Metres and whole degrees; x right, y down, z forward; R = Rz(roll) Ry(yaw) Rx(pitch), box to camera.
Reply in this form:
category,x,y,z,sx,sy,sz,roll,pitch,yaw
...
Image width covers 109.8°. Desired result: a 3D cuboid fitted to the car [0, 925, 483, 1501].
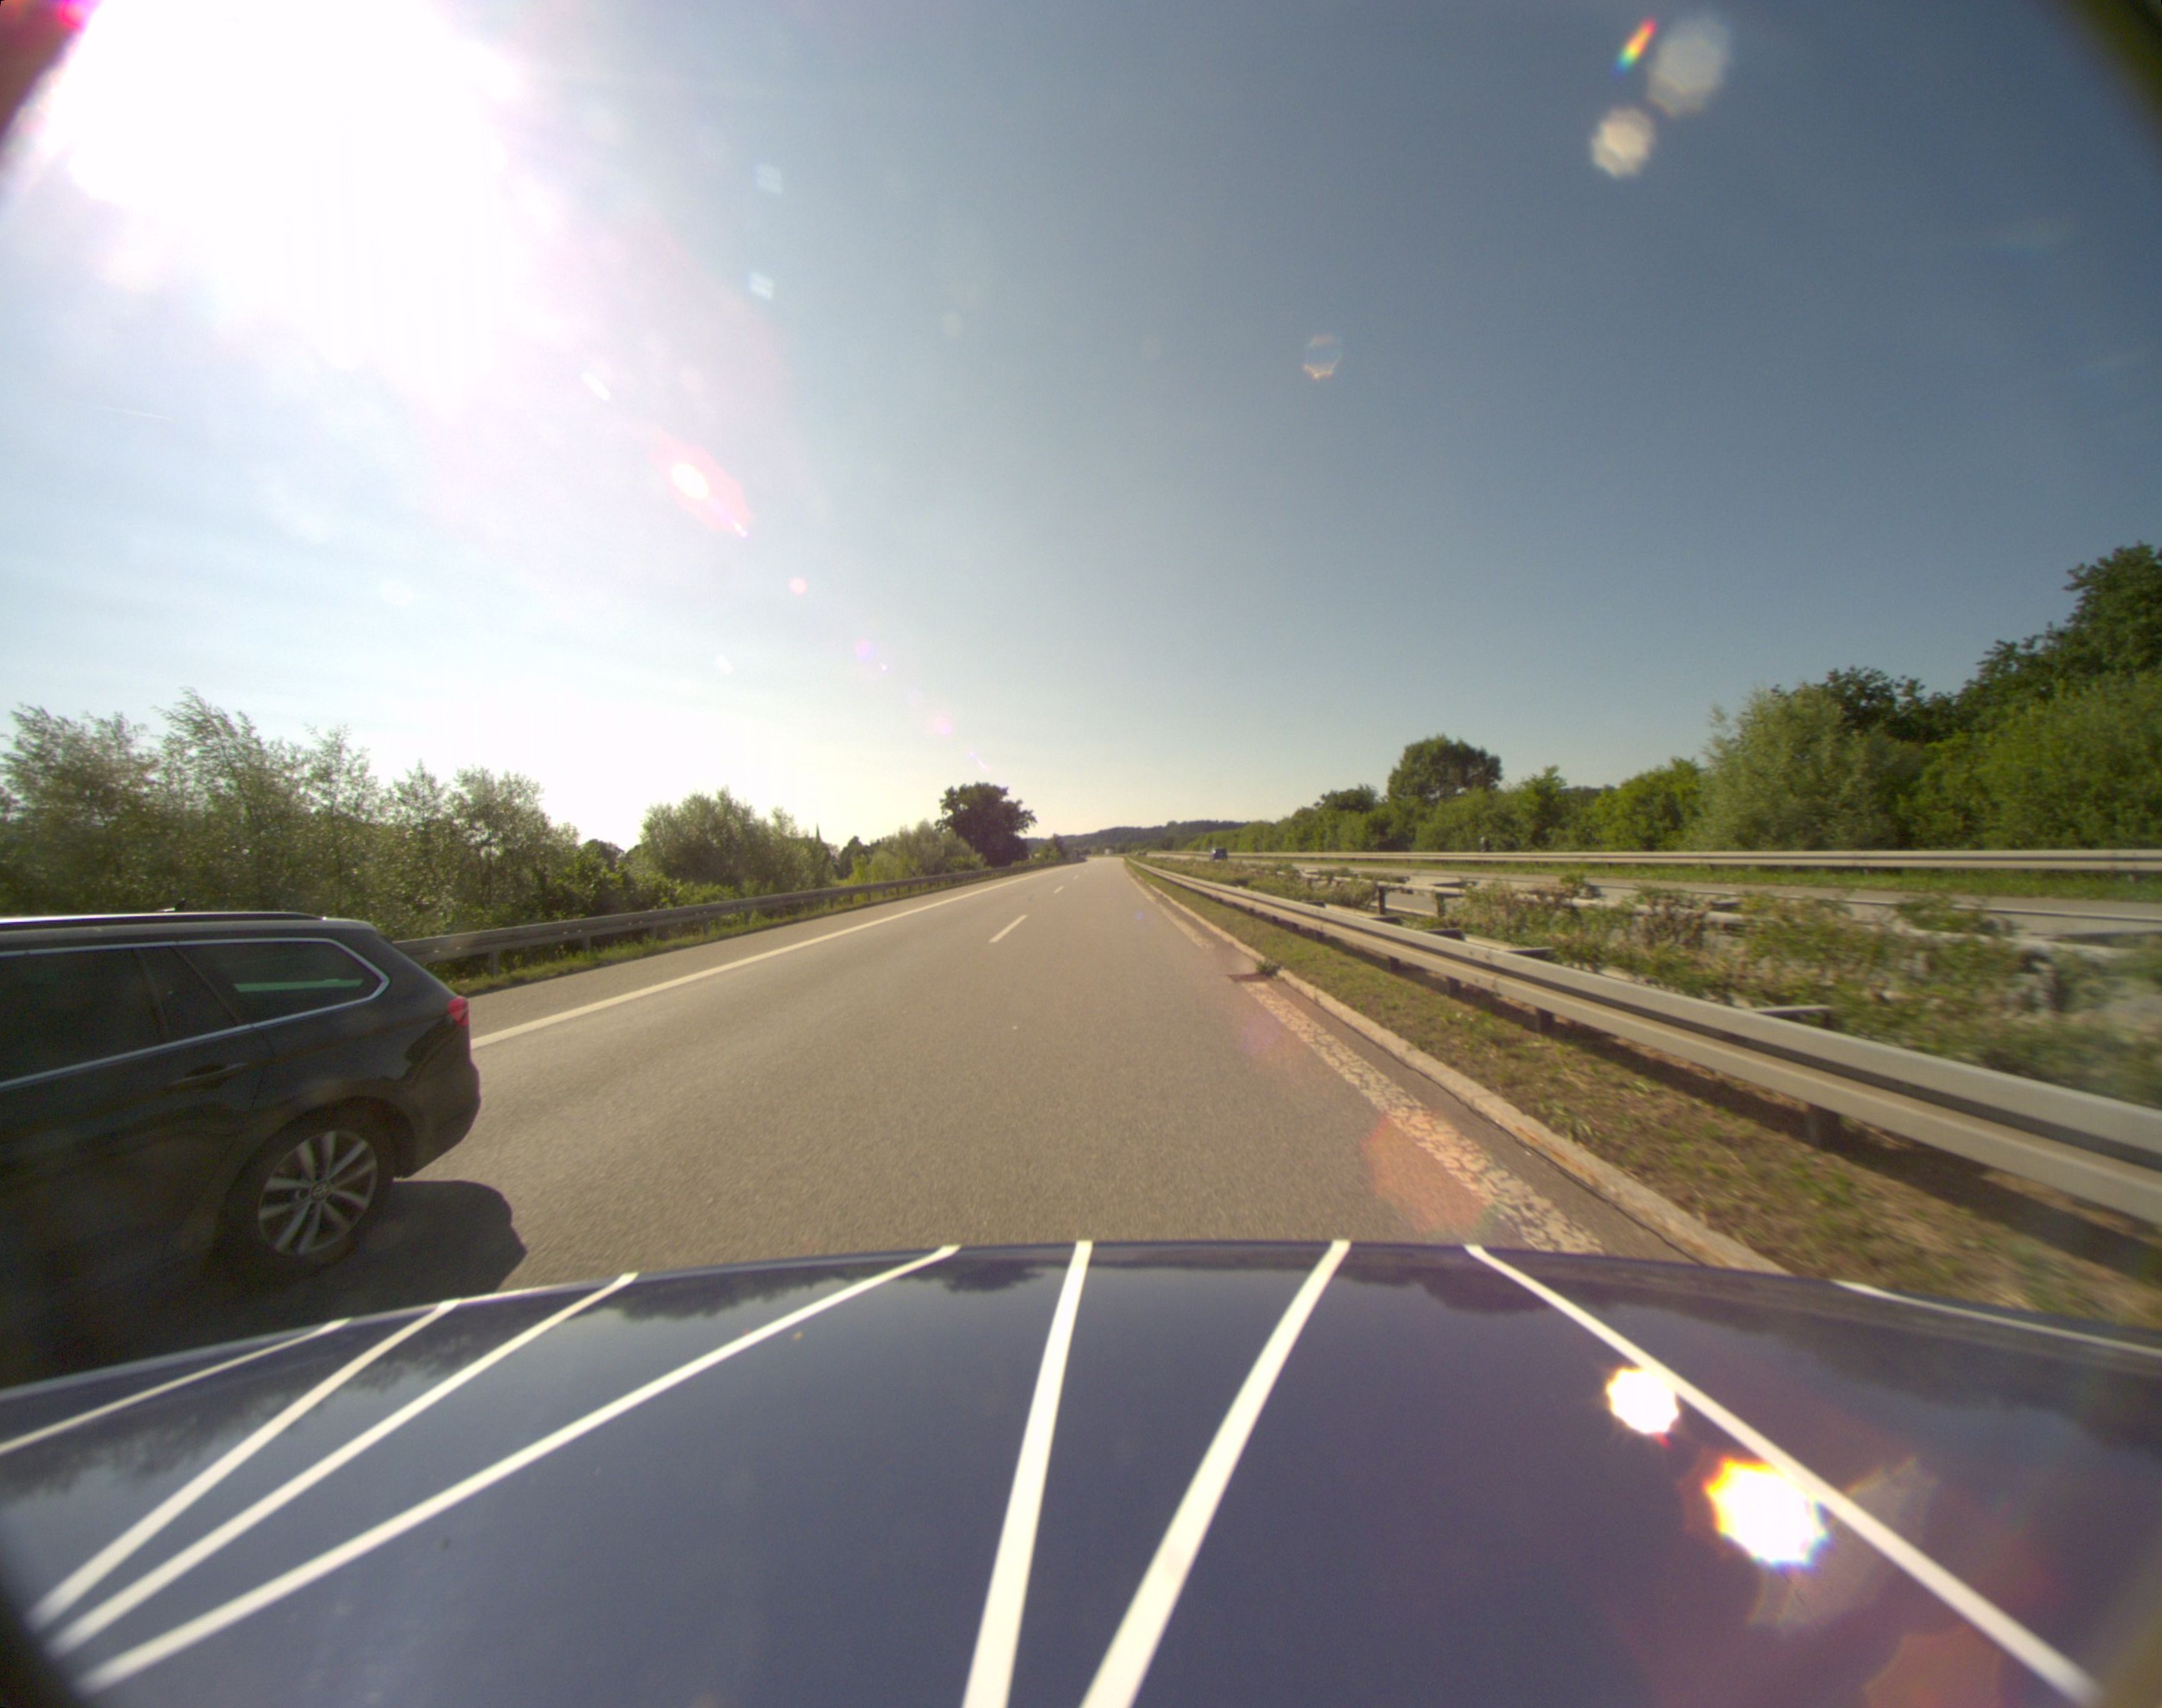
category,x,y,z,sx,sy,sz,roll,pitch,yaw
car,-3.811,1.087,1.473,1.723,1.391,4.413,-2,0,1

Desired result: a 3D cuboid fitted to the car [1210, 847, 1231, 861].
category,x,y,z,sx,sy,sz,roll,pitch,yaw
car,15.241,0.033,83.104,1.680,1.432,4.000,-1,0,1

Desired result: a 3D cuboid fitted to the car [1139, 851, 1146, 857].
category,x,y,z,sx,sy,sz,roll,pitch,yaw
car,19.450,-0.006,241.668,1.914,1.579,4.917,-2,0,1
